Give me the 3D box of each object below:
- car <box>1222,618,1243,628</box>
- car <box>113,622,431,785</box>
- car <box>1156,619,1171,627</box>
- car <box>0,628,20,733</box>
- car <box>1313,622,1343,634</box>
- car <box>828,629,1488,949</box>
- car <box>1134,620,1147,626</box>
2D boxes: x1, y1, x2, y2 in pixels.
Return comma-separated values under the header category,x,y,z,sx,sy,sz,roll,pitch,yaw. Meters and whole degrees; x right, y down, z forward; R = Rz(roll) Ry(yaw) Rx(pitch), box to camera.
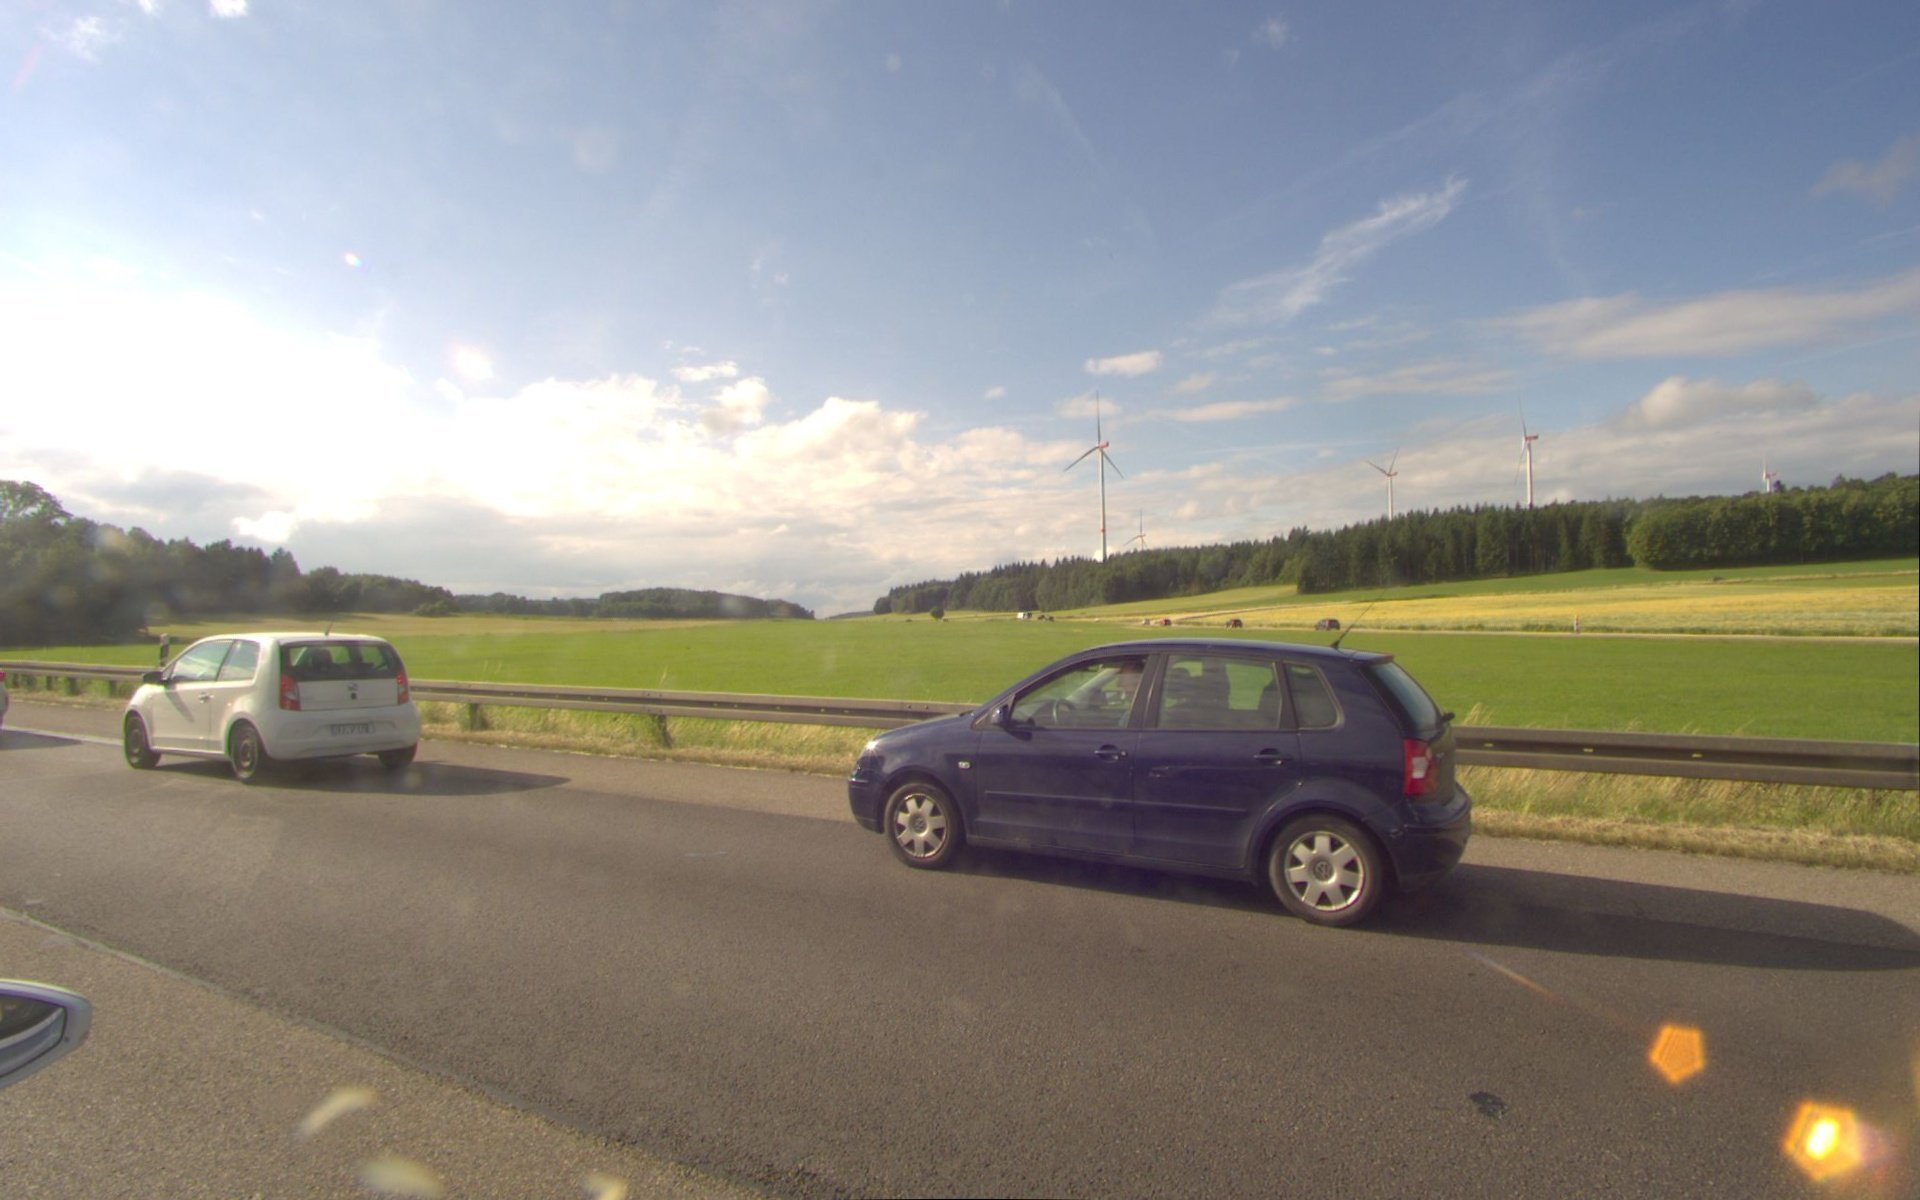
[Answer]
category,x,y,z,sx,sy,sz,roll,pitch,yaw
car,44.171,3.711,162.204,1.803,1.505,4.221,0,-2,-6
car,-7.517,1.013,10.912,3.326,1.514,1.547,0,-1,29
car,42.308,4.804,208.591,1.803,1.505,4.221,0,-2,-6
car,-15.466,1.145,14.456,4.084,1.464,1.619,-1,-2,29
car,46.351,3.510,126.216,1.803,1.505,4.221,0,-2,-6
car,1.171,0.929,6.279,3.718,1.464,1.708,-1,-2,30
car,42.360,5.441,235.367,1.803,1.505,4.288,0,-2,-6
